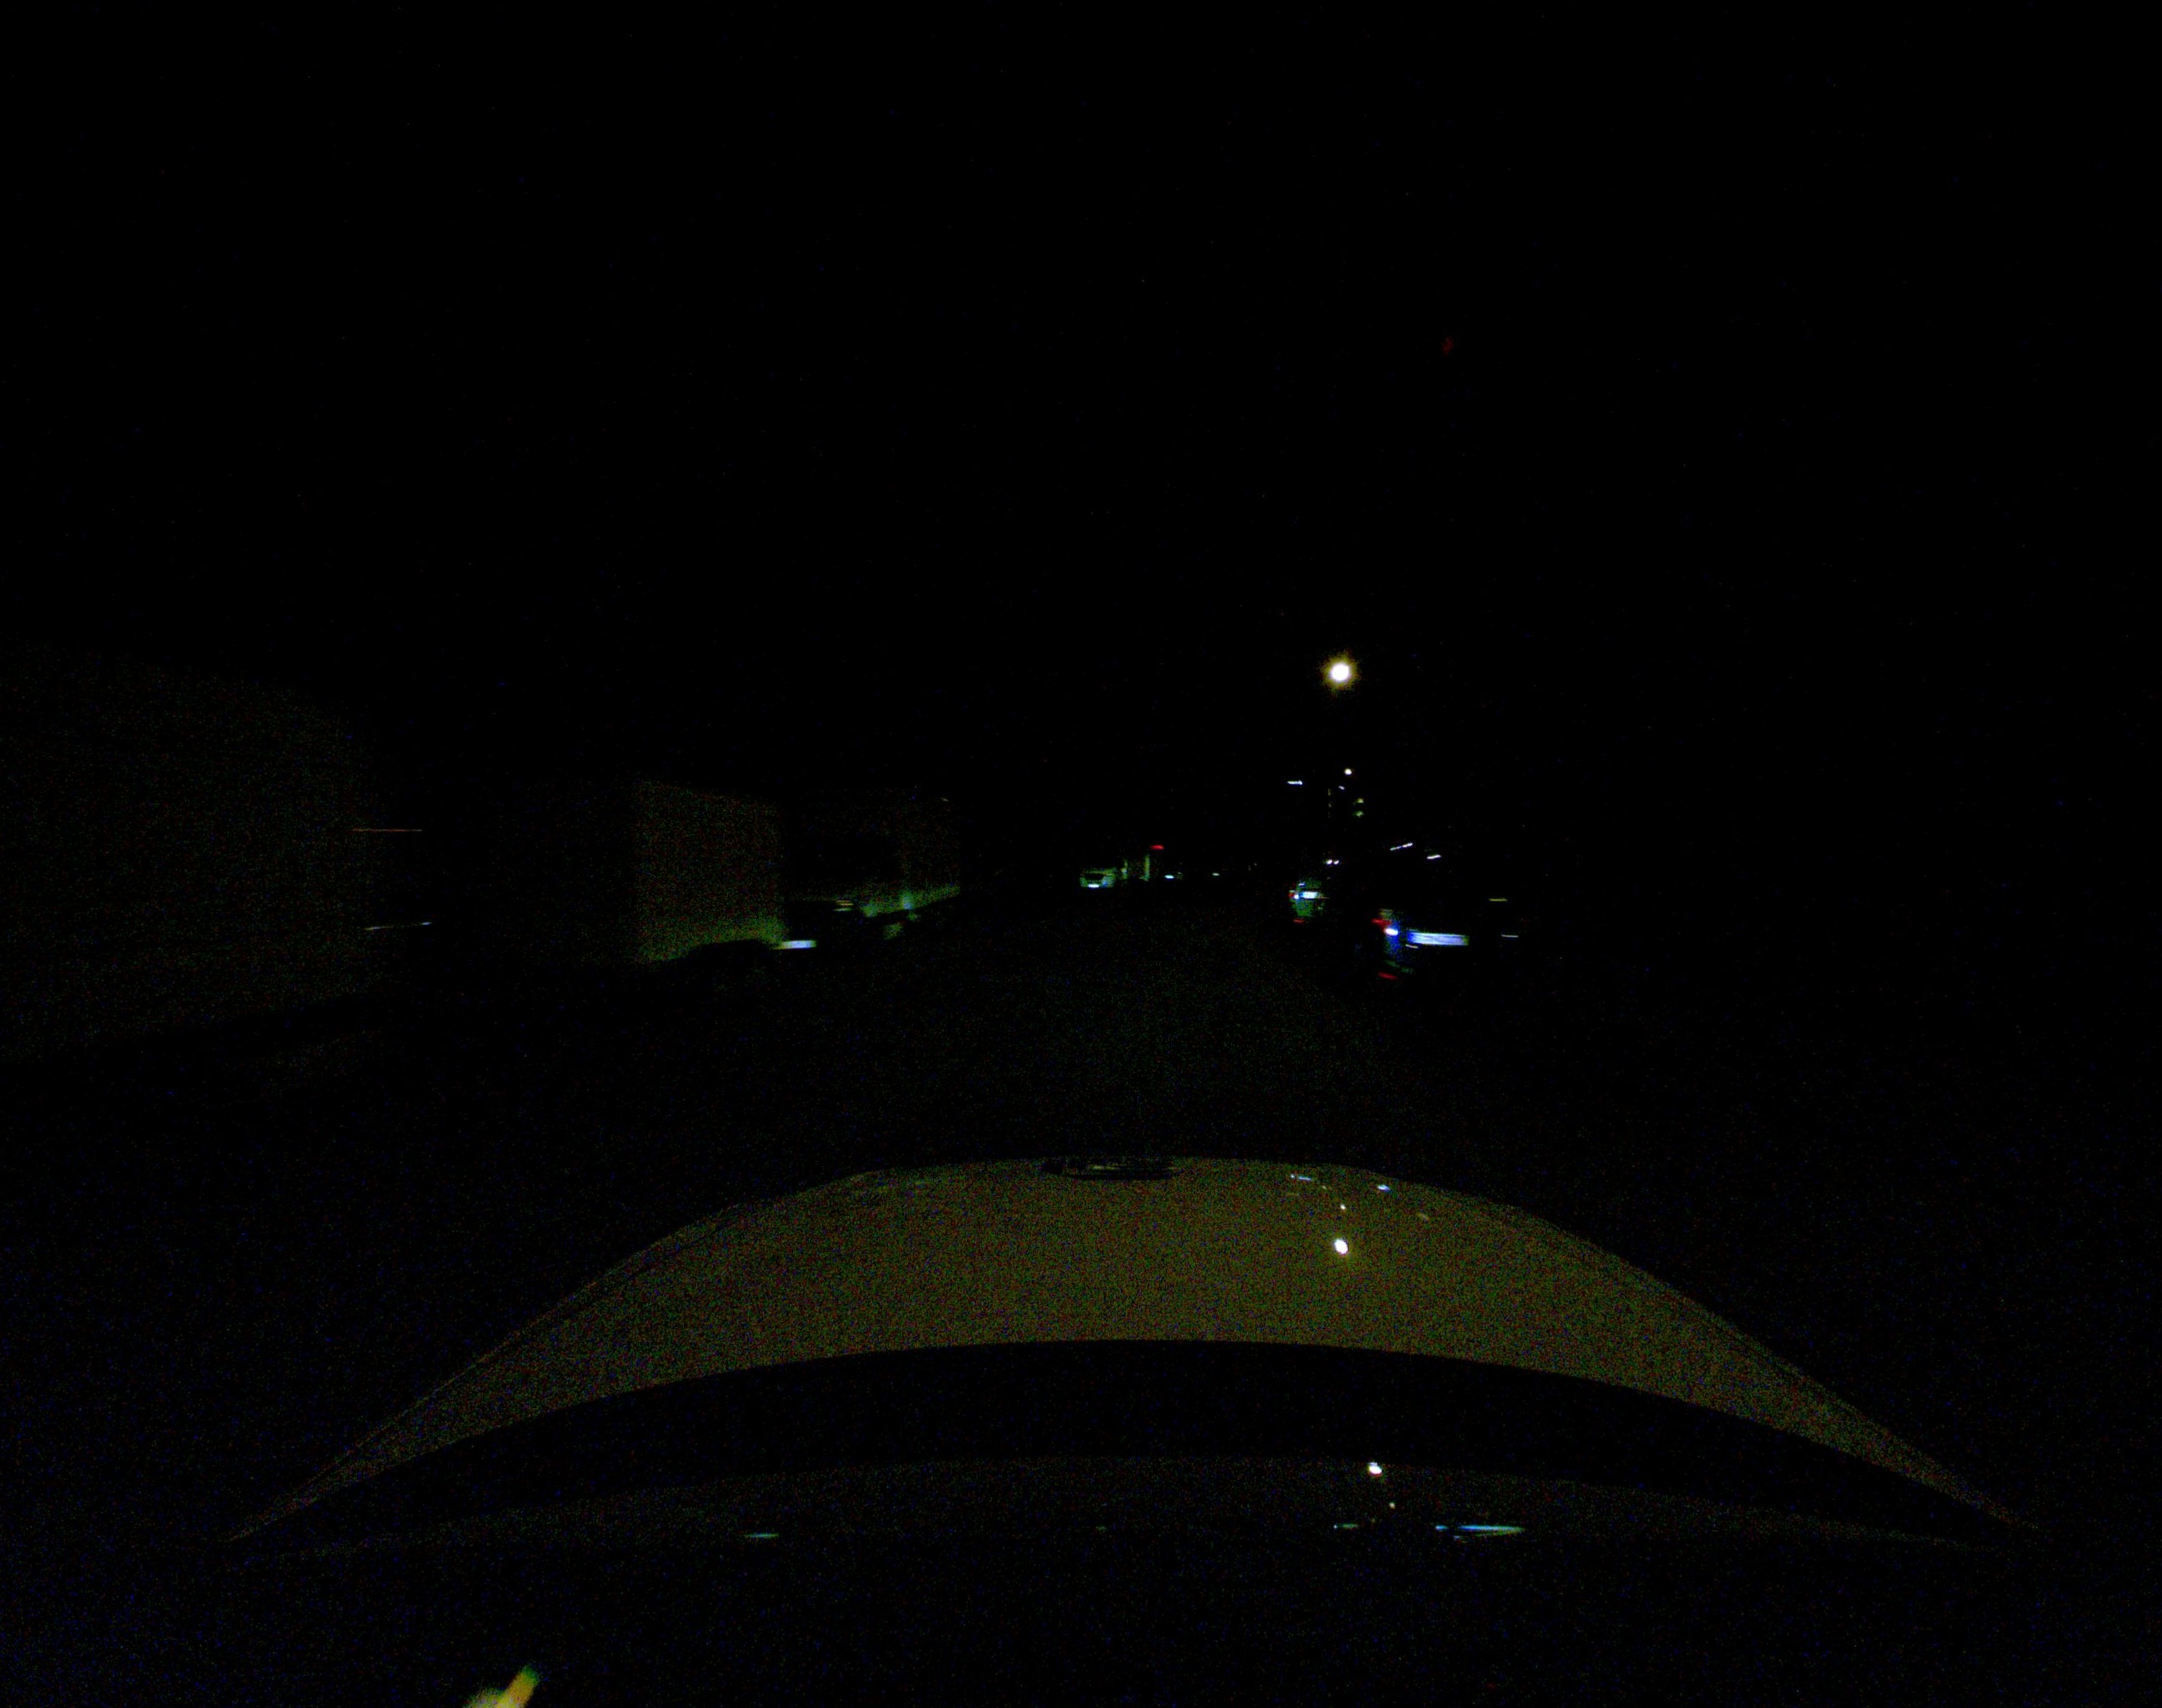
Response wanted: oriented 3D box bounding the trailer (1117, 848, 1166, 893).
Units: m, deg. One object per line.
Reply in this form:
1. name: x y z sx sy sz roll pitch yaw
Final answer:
1. trailer: 3.946 1.013 52.419 1.977 2.813 4.726 -1 0 20

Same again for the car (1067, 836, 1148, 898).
1. car: 1.653 0.721 46.077 2.498 3.171 7.171 -2 -1 19

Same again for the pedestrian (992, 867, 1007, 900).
1. pedestrian: -4.131 1.493 41.433 0.676 1.652 0.650 -1 0 -13

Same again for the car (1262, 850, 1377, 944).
1. car: 5.113 0.883 17.941 1.712 1.821 4.006 1 -1 6

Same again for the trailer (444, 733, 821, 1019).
1. trailer: -4.647 0.216 9.149 1.984 2.527 3.573 -2 -1 5

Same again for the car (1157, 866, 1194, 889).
1. car: 7.372 1.805 63.225 1.977 1.699 4.227 0 -1 20

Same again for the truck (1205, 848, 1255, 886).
1. truck: 14.620 1.186 79.333 1.975 3.404 9.034 1 0 29

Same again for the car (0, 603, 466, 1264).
1. car: -5.612 0.328 1.954 2.508 2.606 7.098 -2 -1 4

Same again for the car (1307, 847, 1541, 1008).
1. car: 4.175 0.813 10.606 1.712 1.661 4.006 1 -1 6

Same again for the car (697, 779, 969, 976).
1. car: -4.298 0.400 16.022 2.507 2.927 7.211 -2 -1 5
